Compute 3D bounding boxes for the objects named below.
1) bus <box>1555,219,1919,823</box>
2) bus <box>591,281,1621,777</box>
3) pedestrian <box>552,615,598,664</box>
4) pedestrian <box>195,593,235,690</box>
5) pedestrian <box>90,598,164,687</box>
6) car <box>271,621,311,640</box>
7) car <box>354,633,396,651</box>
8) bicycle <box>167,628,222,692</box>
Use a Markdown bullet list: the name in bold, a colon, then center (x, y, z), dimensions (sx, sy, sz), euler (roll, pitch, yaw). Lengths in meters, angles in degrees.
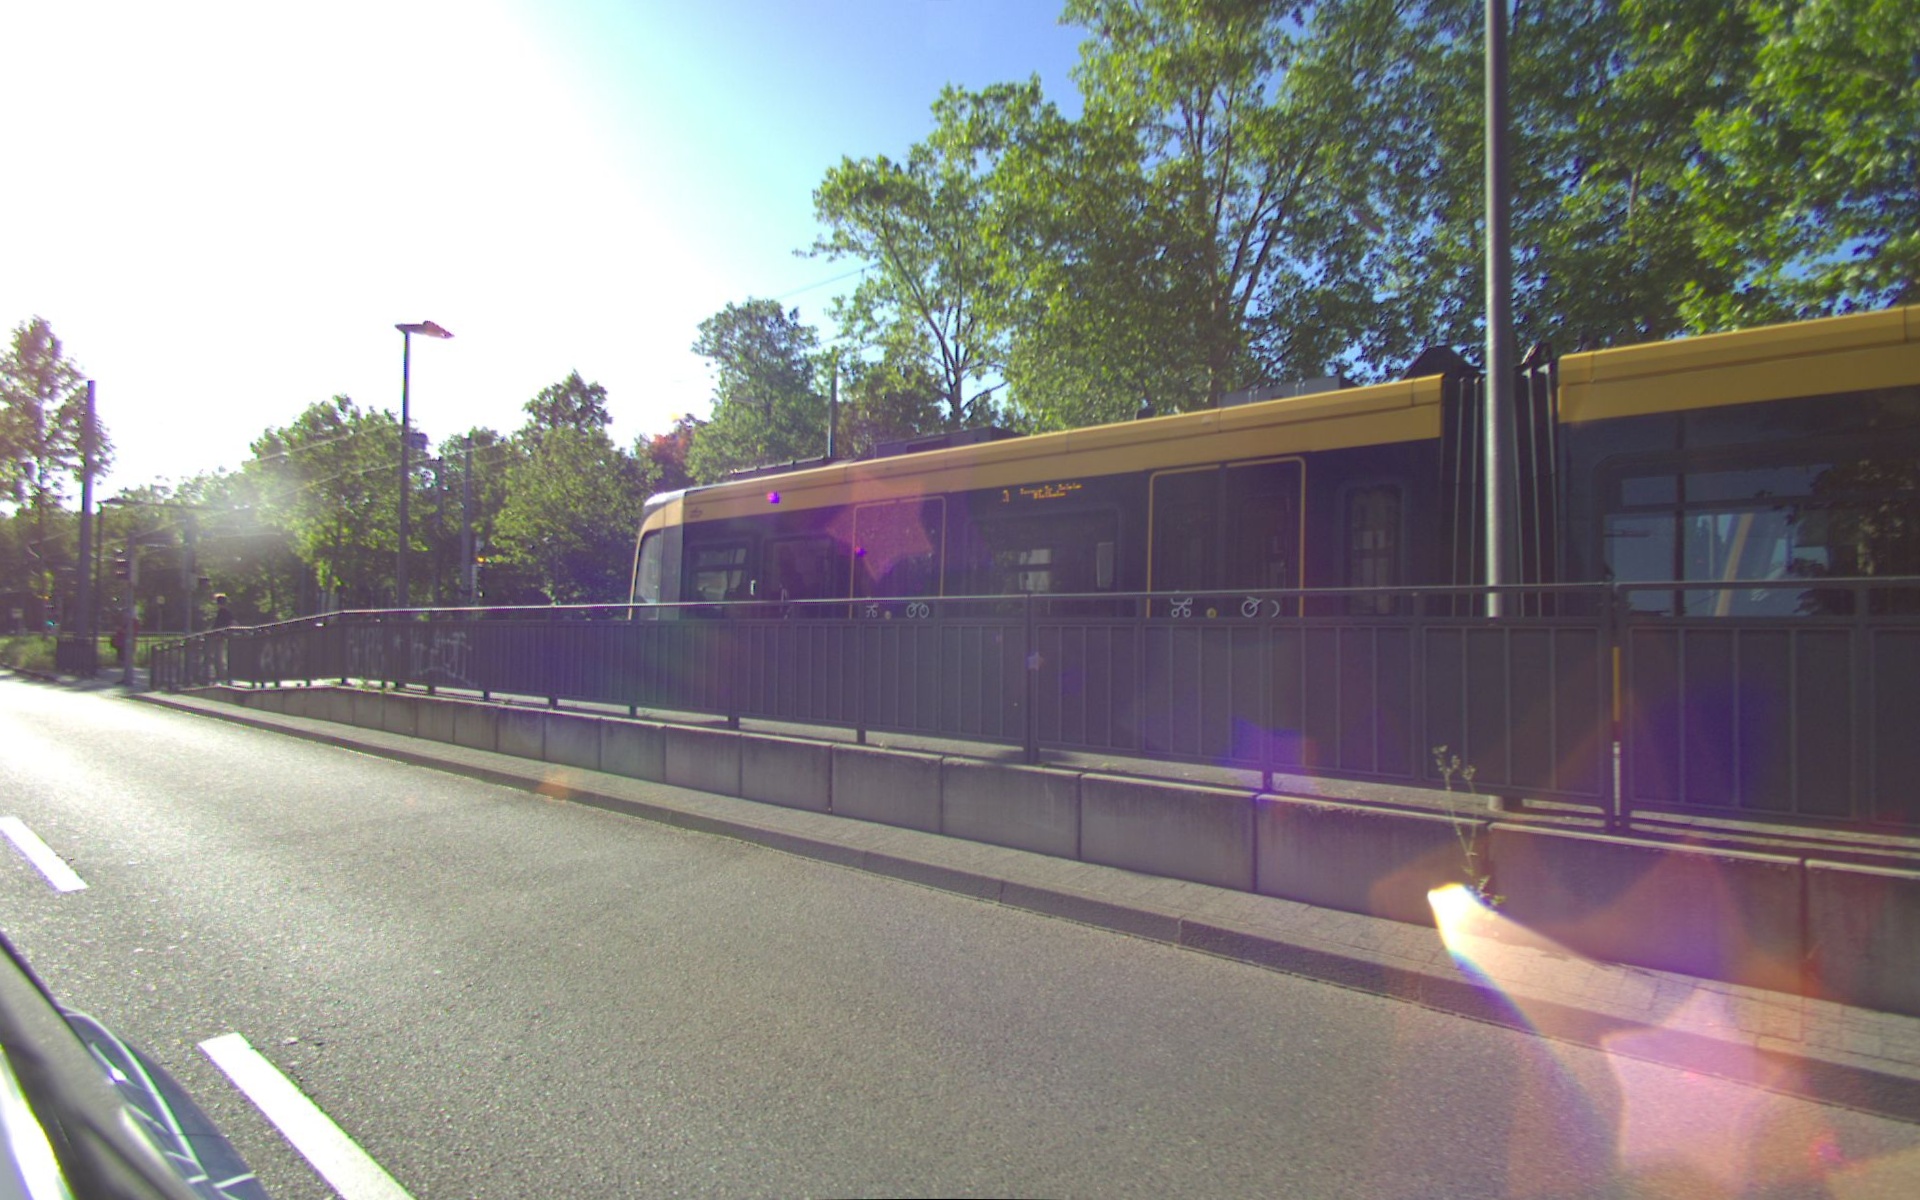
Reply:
- **bus**: center (9.655, -0.568, 4.014), dimensions (12.209, 3.470, 2.839), euler (-2, -3, 42)
- **bus**: center (0.084, -0.264, 12.513), dimensions (13.211, 3.470, 2.838), euler (-2, -3, 42)
- **pedestrian**: center (-13.194, 1.360, 34.733), dimensions (0.890, 1.656, 1.167), euler (-1, -2, 34)
- **pedestrian**: center (-15.064, 0.838, 20.457), dimensions (0.583, 1.917, 0.447), euler (-1, -2, 34)
- **pedestrian**: center (-18.723, 0.933, 22.744), dimensions (1.126, 1.931, 1.061), euler (-1, -2, 39)
- **car**: center (-62.576, 2.872, 94.669), dimensions (3.995, 1.634, 1.974), euler (-3, -2, 39)
- **car**: center (-45.920, 3.312, 79.419), dimensions (3.778, 1.322, 1.750), euler (-3, -2, 41)
- **bicycle**: center (-15.327, 1.178, 20.253), dimensions (1.825, 1.223, 0.325), euler (-1, -2, 36)
